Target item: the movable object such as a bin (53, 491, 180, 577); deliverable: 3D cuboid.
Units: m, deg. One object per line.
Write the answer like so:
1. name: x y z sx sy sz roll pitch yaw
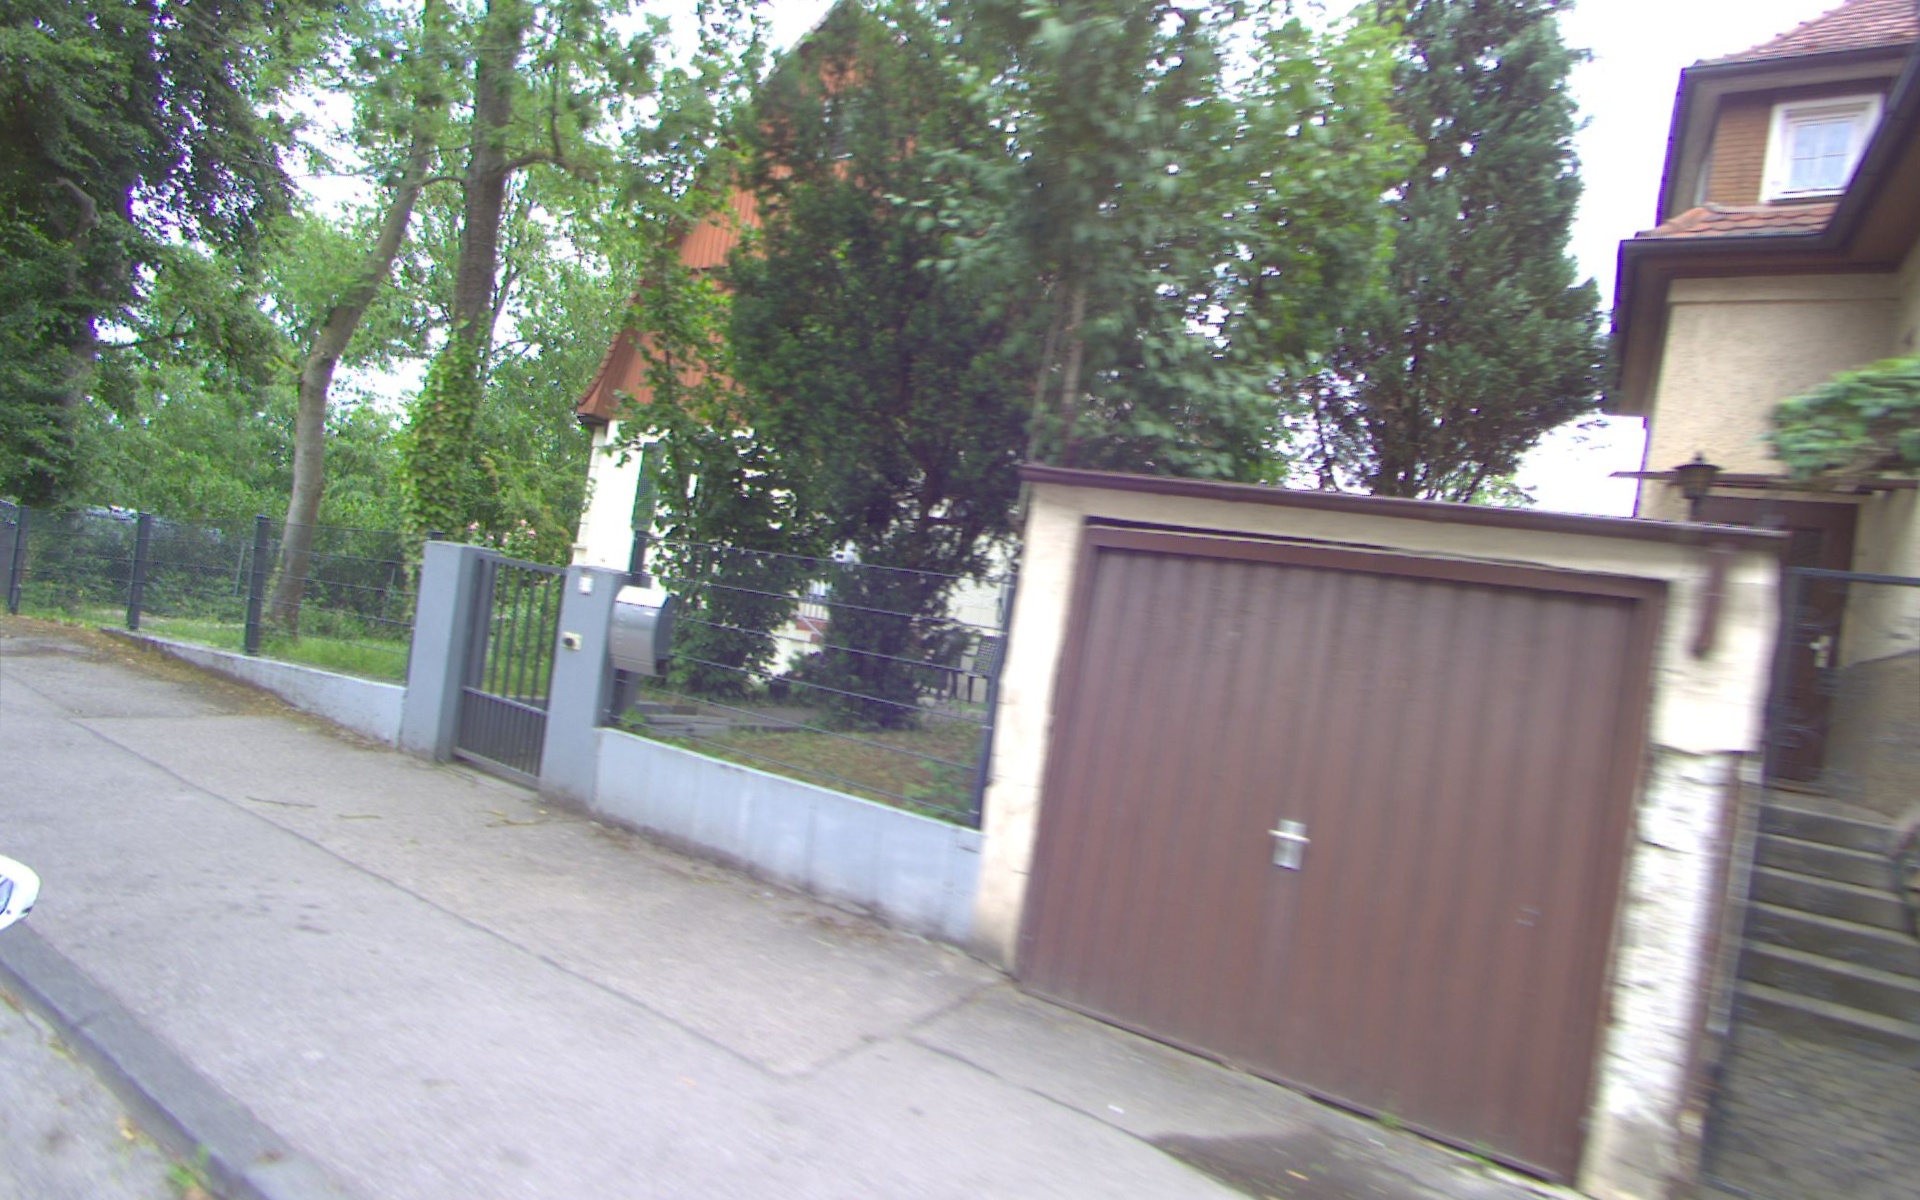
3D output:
1. movable object such as a bin: -18.774 -1.458 22.424 1.644 1.566 1.426 8 0 21

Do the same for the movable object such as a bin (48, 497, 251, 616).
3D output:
1. movable object such as a bin: -15.336 -0.794 19.105 2.168 1.808 2.110 8 -1 25

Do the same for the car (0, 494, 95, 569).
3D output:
1. car: -23.193 -1.831 23.741 1.797 1.411 3.683 7 -6 16
